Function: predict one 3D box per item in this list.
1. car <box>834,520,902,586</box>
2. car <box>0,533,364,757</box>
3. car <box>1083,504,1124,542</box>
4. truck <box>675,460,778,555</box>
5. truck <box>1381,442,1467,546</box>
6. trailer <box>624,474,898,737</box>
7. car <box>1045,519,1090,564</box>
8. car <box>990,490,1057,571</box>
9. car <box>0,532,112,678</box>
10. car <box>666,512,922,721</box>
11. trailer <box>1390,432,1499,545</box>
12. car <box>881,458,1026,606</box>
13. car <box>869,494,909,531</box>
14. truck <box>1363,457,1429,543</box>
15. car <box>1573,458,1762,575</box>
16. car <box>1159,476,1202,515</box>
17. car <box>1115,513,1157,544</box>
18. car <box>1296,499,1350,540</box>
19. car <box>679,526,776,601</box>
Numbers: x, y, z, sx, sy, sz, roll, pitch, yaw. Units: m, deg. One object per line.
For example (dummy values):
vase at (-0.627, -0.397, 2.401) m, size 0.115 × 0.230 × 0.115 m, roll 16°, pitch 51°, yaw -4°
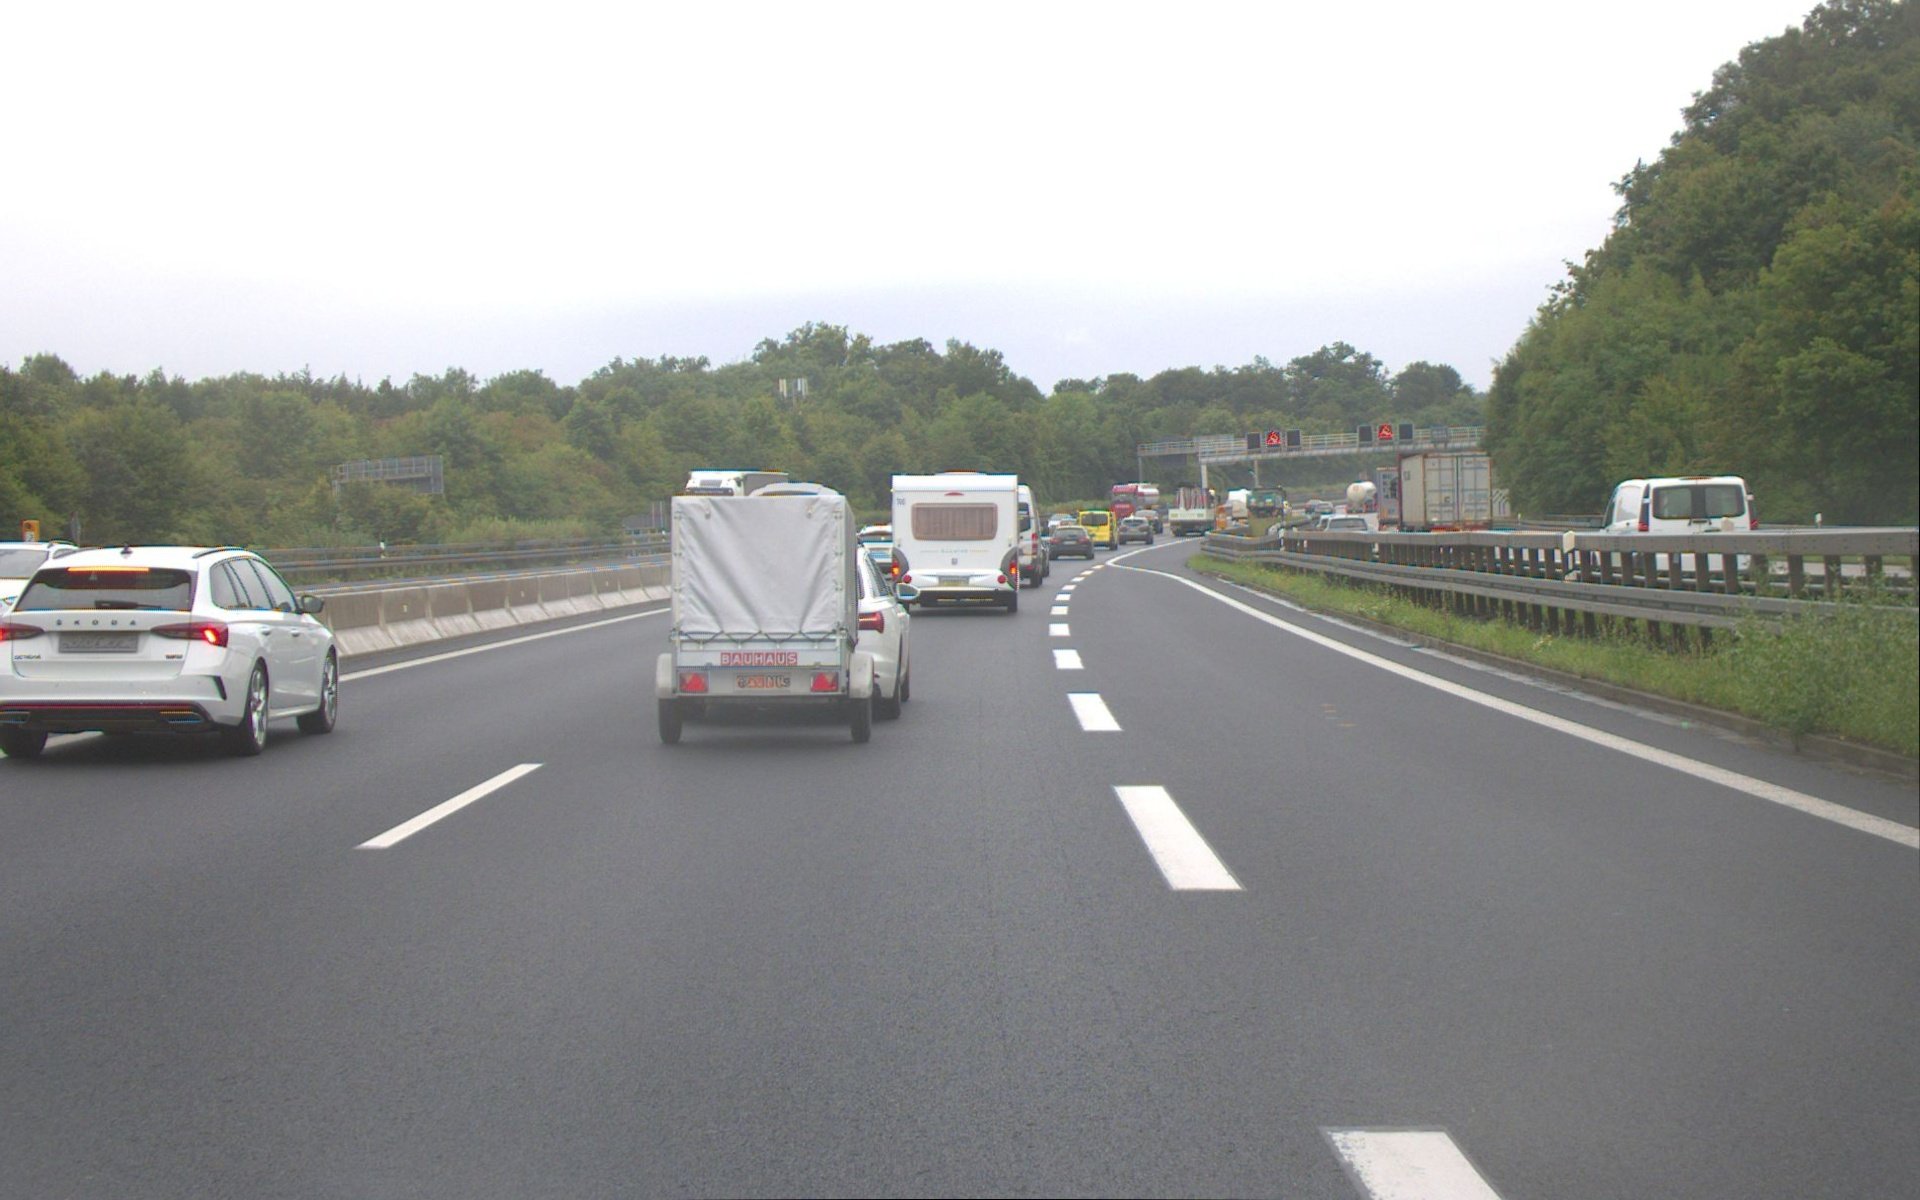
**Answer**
car at (-2.789, -1.424, 104.713) m, size 1.993 × 1.912 × 4.000 m, roll -1°, pitch 1°, yaw -1°
car at (-5.674, 0.273, 25.010) m, size 1.818 × 1.451 × 4.778 m, roll -1°, pitch 1°, yaw 0°
car at (7.261, -3.875, 173.604) m, size 1.676 × 1.806 × 3.999 m, roll -1°, pitch 1°, yaw 7°
truck at (-10.527, -4.136, 156.494) m, size 2.788 × 4.078 × 12.297 m, roll -1°, pitch 1°, yaw 5°
truck at (18.052, -4.089, 134.164) m, size 2.616 × 3.871 × 6.392 m, roll -1°, pitch 1°, yaw 2°
trailer at (-1.419, 0.016, 25.915) m, size 1.676 × 1.806 × 4.000 m, roll -1°, pitch 1°, yaw 2°
car at (4.522, -2.448, 144.376) m, size 1.676 × 1.806 × 3.999 m, roll -1°, pitch 1°, yaw 4°
car at (1.696, -1.809, 90.169) m, size 1.676 × 2.060 × 4.000 m, roll -1°, pitch 1°, yaw 2°
car at (-13.182, 0.057, 47.506) m, size 1.738 × 1.912 × 4.316 m, roll -1°, pitch 1°, yaw 1°
car at (-1.327, 0.103, 29.356) m, size 1.818 × 1.610 × 4.778 m, roll -1°, pitch 1°, yaw 1°
trailer at (17.853, -4.015, 127.424) m, size 2.604 × 3.881 × 12.490 m, roll -1°, pitch 1°, yaw 2°
car at (-0.088, -1.239, 63.671) m, size 2.507 × 2.576 × 5.700 m, roll -1°, pitch 1°, yaw 1°
car at (-3.847, -4.750, 187.563) m, size 1.738 × 1.912 × 4.316 m, roll -1°, pitch 1°, yaw 4°
truck at (24.816, -5.619, 196.172) m, size 3.216 × 4.650 × 13.030 m, roll -1°, pitch 1°, yaw 5°
car at (10.878, -1.258, 53.144) m, size 1.909 × 1.688 × 4.719 m, roll -1°, pitch 1°, yaw 0°
car at (15.110, -7.126, 235.454) m, size 2.516 × 2.566 × 5.310 m, roll -1°, pitch 1°, yaw 7°
car at (10.114, -4.099, 197.362) m, size 2.038 × 1.677 × 3.999 m, roll -1°, pitch 1°, yaw 8°
car at (13.168, -2.918, 124.771) m, size 1.667 × 1.378 × 4.126 m, roll -3°, pitch 1°, yaw 3°
car at (-4.728, -0.744, 70.381) m, size 1.676 × 1.451 × 4.000 m, roll -1°, pitch 1°, yaw 0°
